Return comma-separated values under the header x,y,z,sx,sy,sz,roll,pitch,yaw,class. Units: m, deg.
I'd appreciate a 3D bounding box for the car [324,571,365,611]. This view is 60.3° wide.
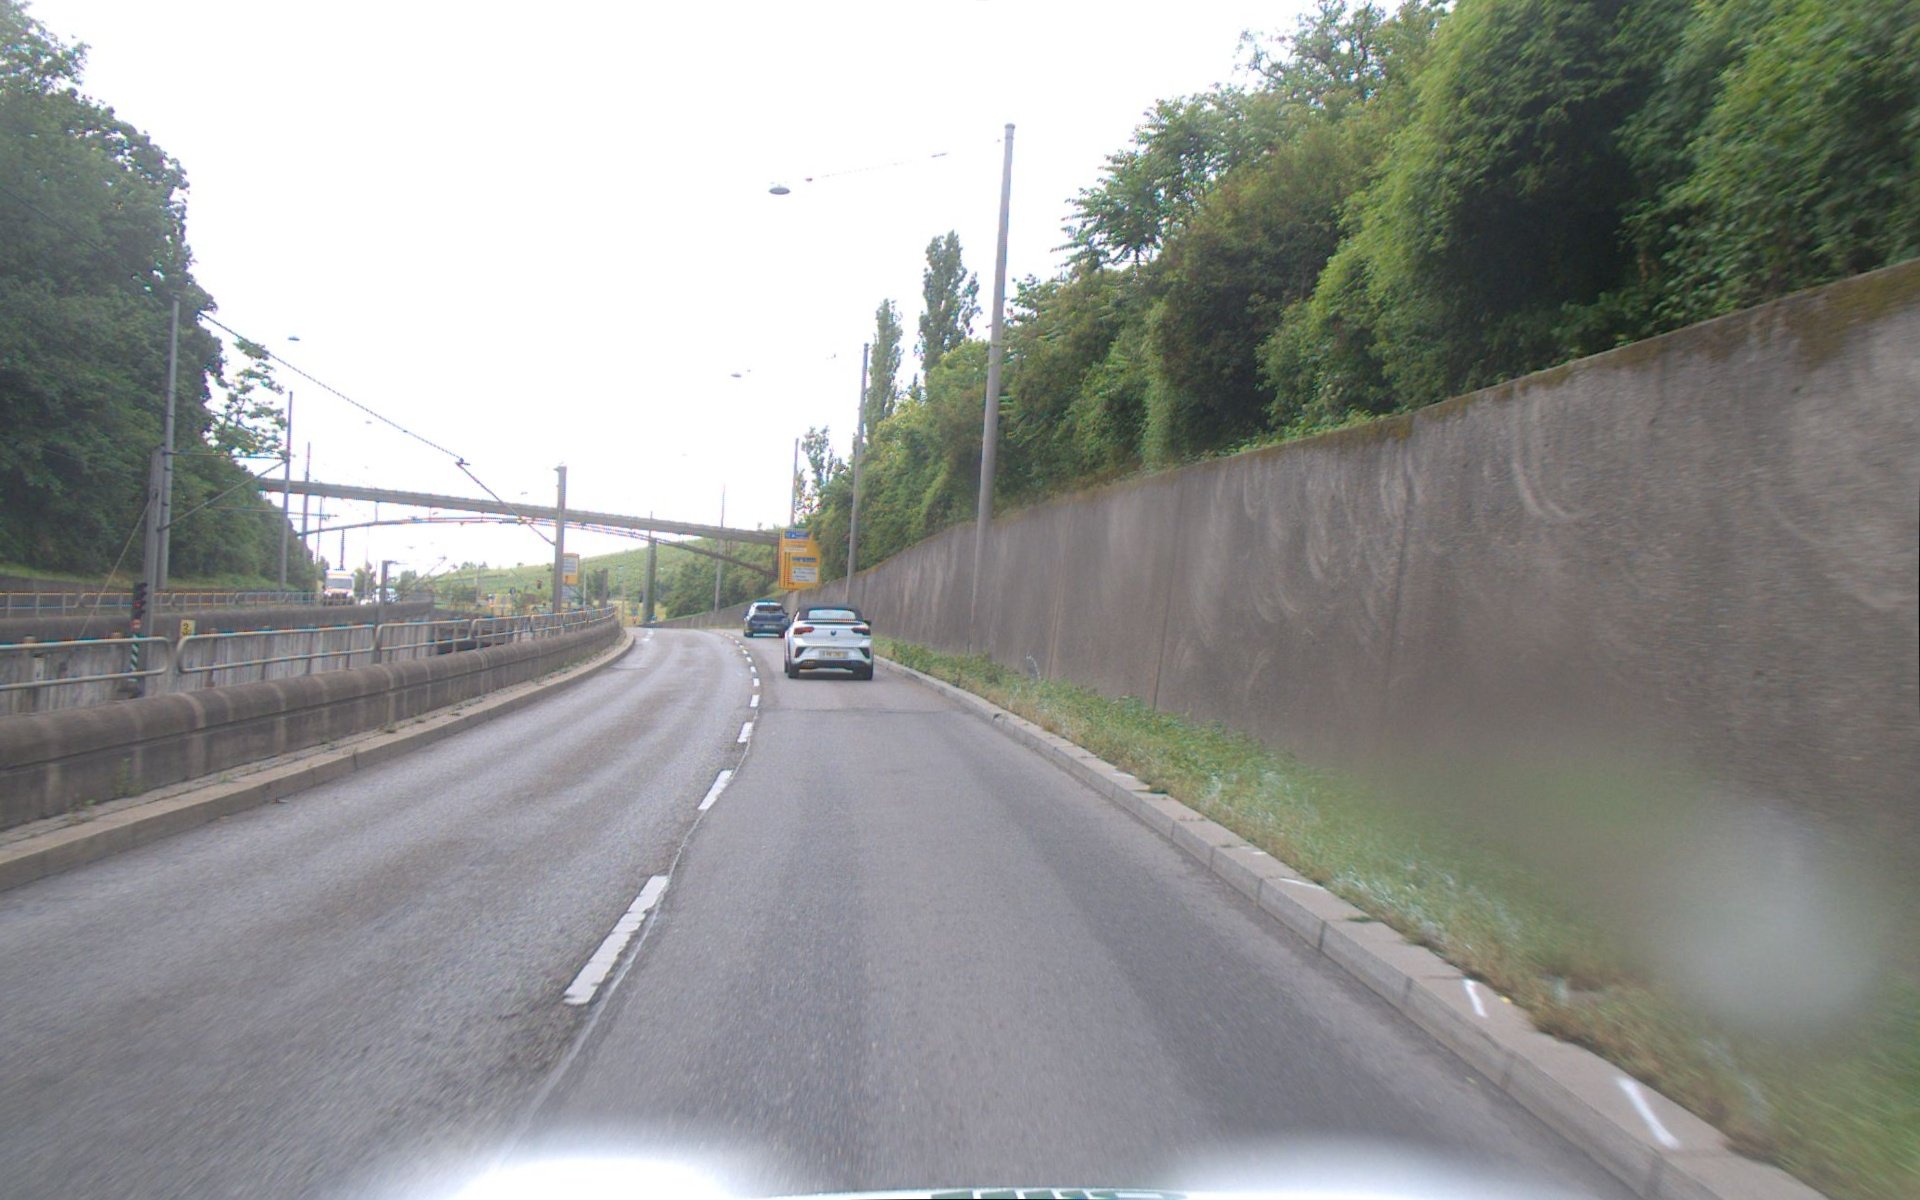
x,y,z,sx,sy,sz,roll,pitch,yaw,class
-44.094,-0.624,118.647,2.147,2.782,6.318,1,-1,-15,car

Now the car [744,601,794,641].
x,y,z,sx,sy,sz,roll,pitch,yaw,class
-8.108,0.880,70.423,1.888,1.627,4.059,0,0,-3,car

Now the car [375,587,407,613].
x,y,z,sx,sy,sz,roll,pitch,yaw,class
-39.300,0.027,114.252,1.788,1.734,4.093,1,-1,-15,car

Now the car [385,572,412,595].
x,y,z,sx,sy,sz,roll,pitch,yaw,class
-46.193,-1.320,136.066,1.930,1.780,4.121,1,-1,-17,car

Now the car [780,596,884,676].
x,y,z,sx,sy,sz,roll,pitch,yaw,class
-2.772,0.724,35.151,1.958,1.606,4.118,0,0,-8,car
